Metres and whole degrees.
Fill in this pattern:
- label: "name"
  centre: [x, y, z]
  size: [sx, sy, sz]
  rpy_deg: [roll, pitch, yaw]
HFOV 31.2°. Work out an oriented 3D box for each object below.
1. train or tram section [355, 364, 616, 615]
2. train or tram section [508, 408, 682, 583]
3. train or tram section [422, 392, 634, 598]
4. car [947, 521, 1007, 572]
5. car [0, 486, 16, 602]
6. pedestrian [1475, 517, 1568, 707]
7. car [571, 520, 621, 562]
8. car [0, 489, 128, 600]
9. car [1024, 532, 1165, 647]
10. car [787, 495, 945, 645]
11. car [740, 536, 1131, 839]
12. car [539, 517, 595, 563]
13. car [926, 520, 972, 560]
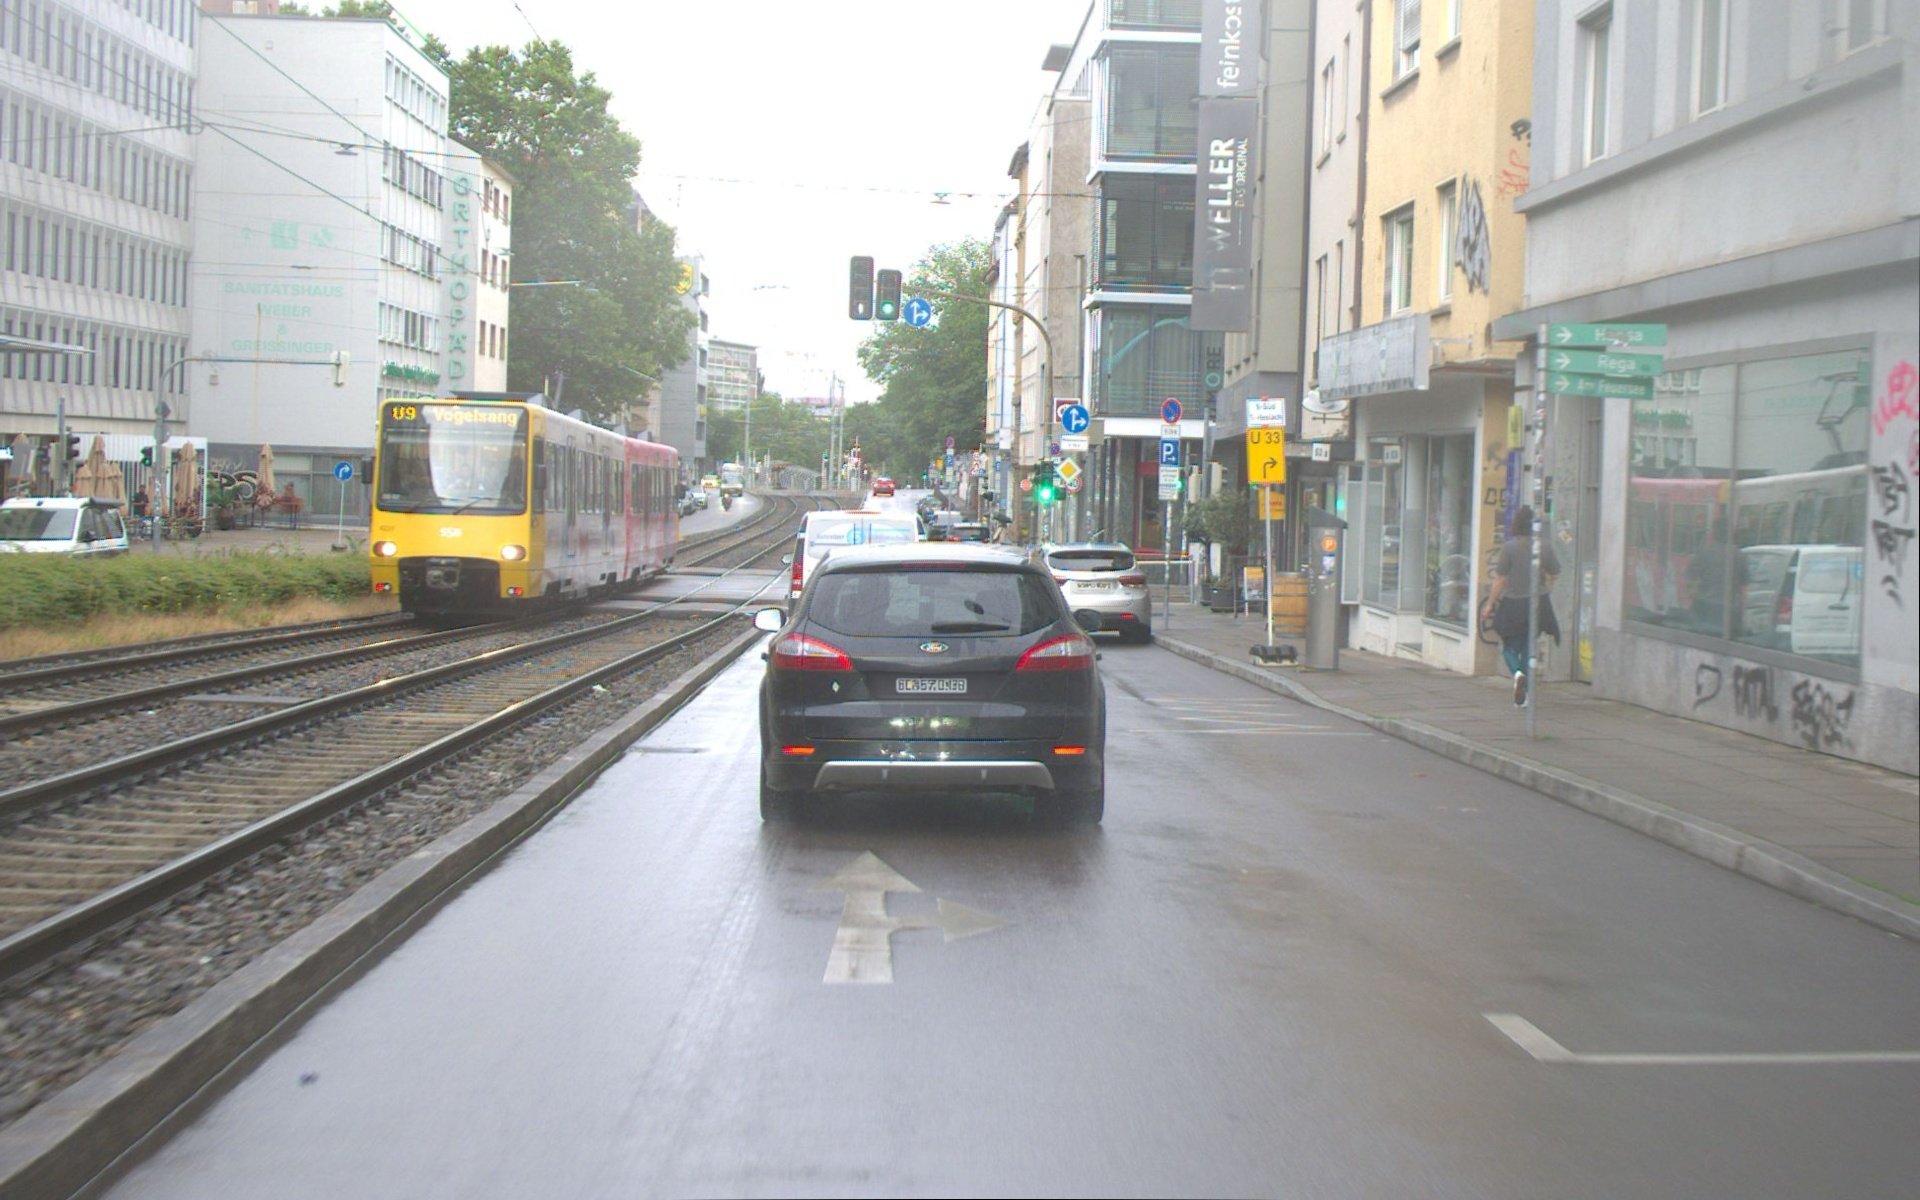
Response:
- label: "train or tram section"
  centre: [-7.781, -1.806, 58.009]
  size: [3.512, 3.764, 11.334]
  rpy_deg: [1, 1, -4]
- label: "train or tram section"
  centre: [-8.524, -2.442, 81.933]
  size: [3.537, 3.764, 13.433]
  rpy_deg: [1, 1, -4]
- label: "train or tram section"
  centre: [-8.538, -2.077, 69.340]
  size: [3.537, 3.764, 11.334]
  rpy_deg: [1, 1, -4]
- label: "car"
  centre: [0.548, -1.763, 113.948]
  size: [1.906, 1.627, 4.574]
  rpy_deg: [1, 1, 0]
- label: "car"
  centre: [-16.319, -0.904, 54.188]
  size: [1.906, 1.858, 4.574]
  rpy_deg: [1, 1, -4]
- label: "pedestrian"
  centre: [4.591, 0.089, 28.154]
  size: [0.611, 1.532, 0.649]
  rpy_deg: [1, 1, -2]
- label: "car"
  centre: [-16.576, -2.665, 156.667]
  size: [1.906, 1.858, 4.574]
  rpy_deg: [1, 1, -2]
- label: "car"
  centre: [-16.033, -0.977, 60.623]
  size: [1.906, 1.858, 4.574]
  rpy_deg: [1, 1, -4]
- label: "car"
  centre: [1.984, -0.179, 51.984]
  size: [1.906, 1.627, 4.574]
  rpy_deg: [1, 1, 0]
- label: "car"
  centre: [-1.205, -0.408, 45.777]
  size: [1.906, 1.858, 4.574]
  rpy_deg: [1, 1, 0]
- label: "car"
  centre: [-0.144, 0.412, 18.737]
  size: [1.906, 1.457, 3.445]
  rpy_deg: [1, 1, -1]
- label: "car"
  centre: [-16.561, -2.515, 144.993]
  size: [1.906, 1.858, 4.574]
  rpy_deg: [1, 1, -1]
- label: "car"
  centre: [-0.460, -2.551, 145.628]
  size: [1.906, 1.627, 4.574]
  rpy_deg: [1, 1, 0]
